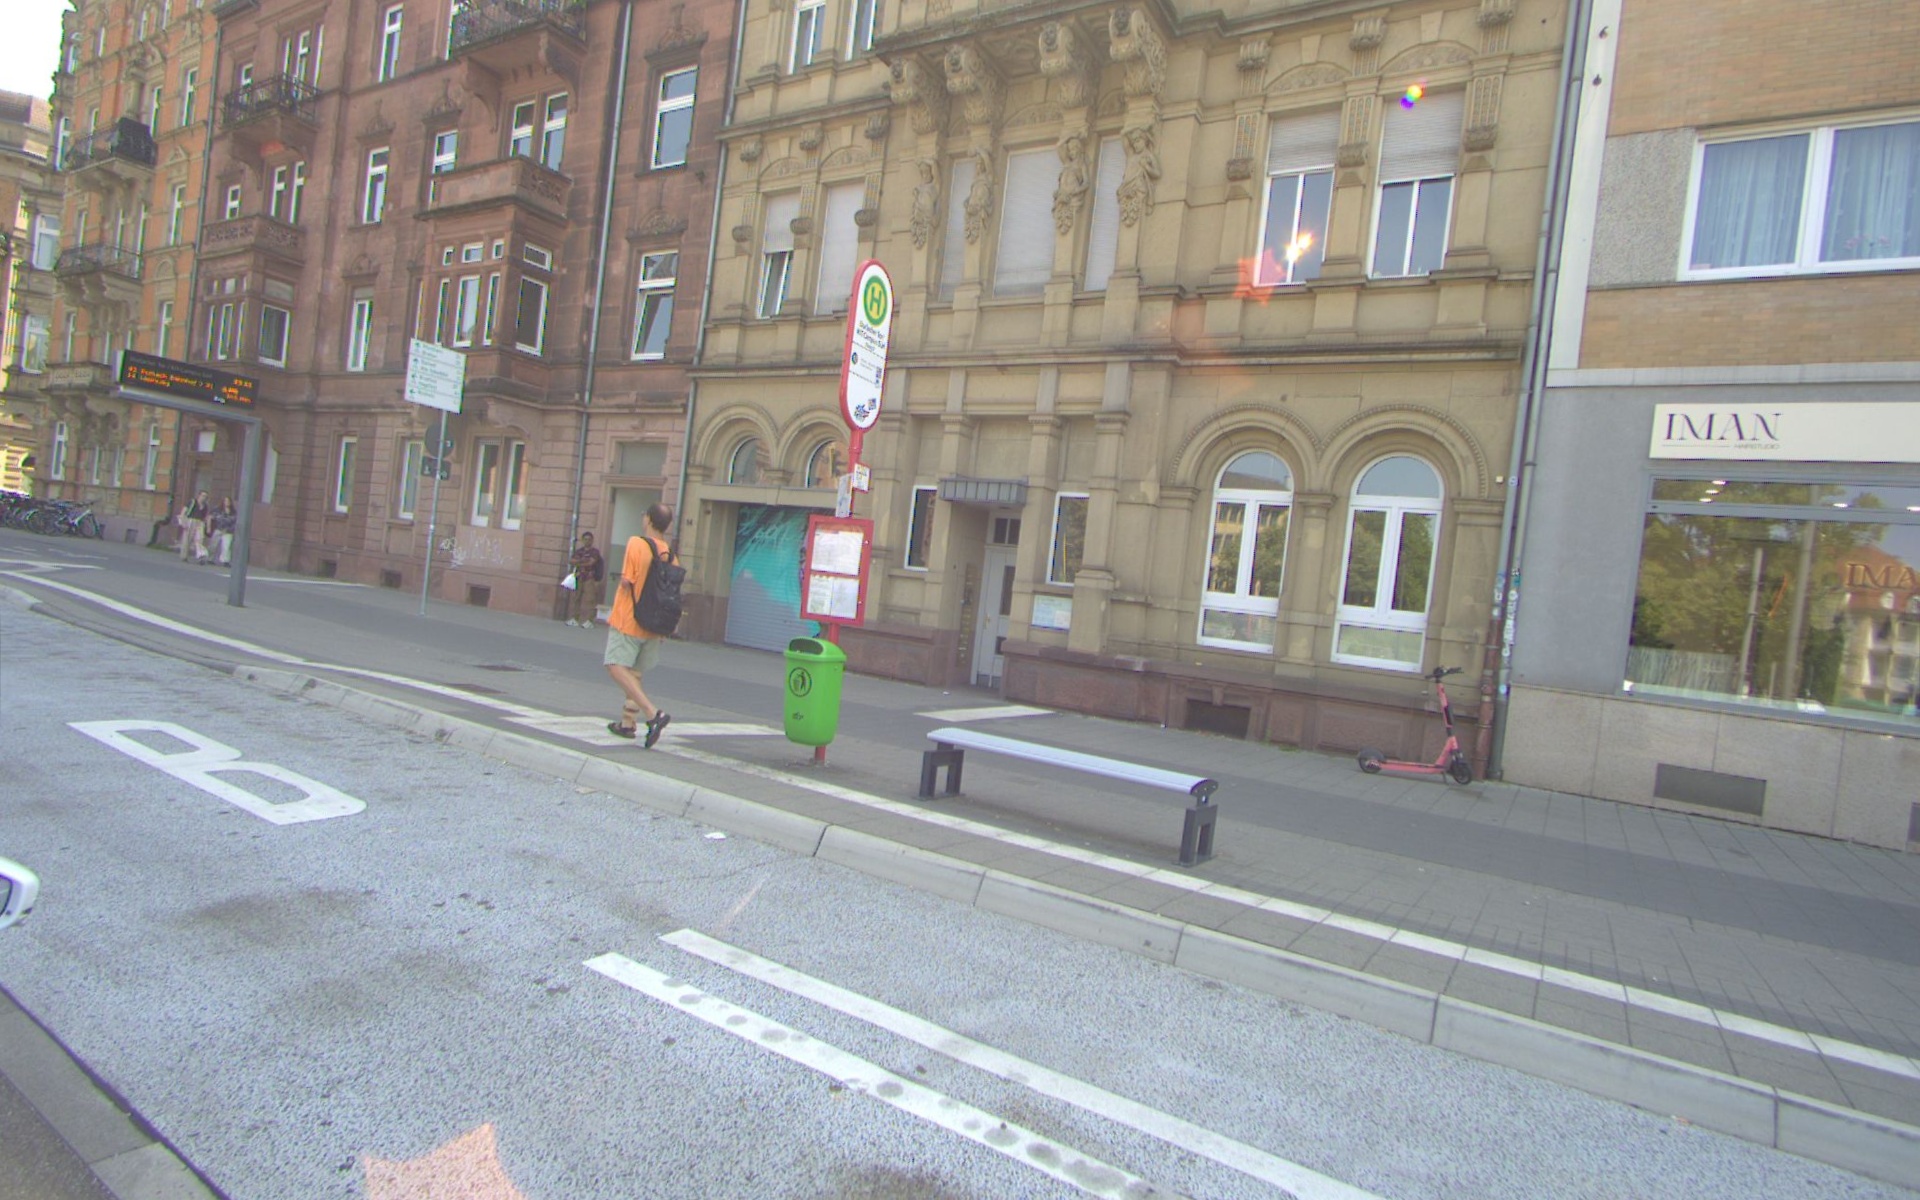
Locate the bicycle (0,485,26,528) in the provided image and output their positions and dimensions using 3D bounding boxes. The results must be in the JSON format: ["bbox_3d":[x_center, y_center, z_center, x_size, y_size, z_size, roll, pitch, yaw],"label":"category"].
[{"bbox_3d":[-33.081,-3.284,33.278,0.932,1.390,3.007,7,0,31],"label":"bicycle"}]

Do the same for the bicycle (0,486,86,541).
[{"bbox_3d":[-28.658,-2.699,30.557,0.857,1.388,2.997,7,0,31],"label":"bicycle"}]

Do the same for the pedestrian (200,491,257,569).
[{"bbox_3d":[-18.203,-1.730,25.038,0.856,1.800,0.715,7,1,30],"label":"pedestrian"}]

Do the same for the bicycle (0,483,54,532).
[{"bbox_3d":[-31.107,-3.077,32.135,0.932,1.390,3.007,7,0,31],"label":"bicycle"}]

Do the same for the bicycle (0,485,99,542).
[{"bbox_3d":[-27.878,-2.624,30.117,0.857,1.388,2.997,7,0,31],"label":"bicycle"}]

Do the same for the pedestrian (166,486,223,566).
[{"bbox_3d":[-18.580,-1.785,24.416,0.833,1.798,0.715,7,1,31],"label":"pedestrian"}]

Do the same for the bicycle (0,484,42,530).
[{"bbox_3d":[-31.966,-3.176,32.626,0.932,1.390,3.007,7,0,31],"label":"bicycle"}]

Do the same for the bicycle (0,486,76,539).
[{"bbox_3d":[-29.431,-2.794,31.069,0.857,1.388,2.997,7,0,31],"label":"bicycle"}]

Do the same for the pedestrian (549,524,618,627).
[{"bbox_3d":[-7.031,-0.437,18.833,0.729,1.800,0.870,7,1,4],"label":"pedestrian"}]

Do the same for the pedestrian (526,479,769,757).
[{"bbox_3d":[-2.221,0.114,7.153,1.221,1.762,0.963,7,0,39],"label":"pedestrian"}]

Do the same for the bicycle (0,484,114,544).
[{"bbox_3d":[-27.075,-2.554,29.726,0.857,1.388,2.997,7,0,31],"label":"bicycle"}]

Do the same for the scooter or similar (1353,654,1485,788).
[{"bbox_3d":[4.888,1.260,10.735,1.122,1.228,0.476,7,1,27],"label":"scooter or similar"}]

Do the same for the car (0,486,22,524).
[{"bbox_3d":[-42.006,-4.225,41.868,1.652,1.539,3.942,7,0,24],"label":"car"}]

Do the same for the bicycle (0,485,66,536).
[{"bbox_3d":[-30.210,-2.925,31.558,0.932,1.390,3.007,7,0,31],"label":"bicycle"}]

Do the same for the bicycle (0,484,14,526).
[{"bbox_3d":[-33.964,-3.406,33.784,0.932,1.390,3.007,7,0,31],"label":"bicycle"}]
